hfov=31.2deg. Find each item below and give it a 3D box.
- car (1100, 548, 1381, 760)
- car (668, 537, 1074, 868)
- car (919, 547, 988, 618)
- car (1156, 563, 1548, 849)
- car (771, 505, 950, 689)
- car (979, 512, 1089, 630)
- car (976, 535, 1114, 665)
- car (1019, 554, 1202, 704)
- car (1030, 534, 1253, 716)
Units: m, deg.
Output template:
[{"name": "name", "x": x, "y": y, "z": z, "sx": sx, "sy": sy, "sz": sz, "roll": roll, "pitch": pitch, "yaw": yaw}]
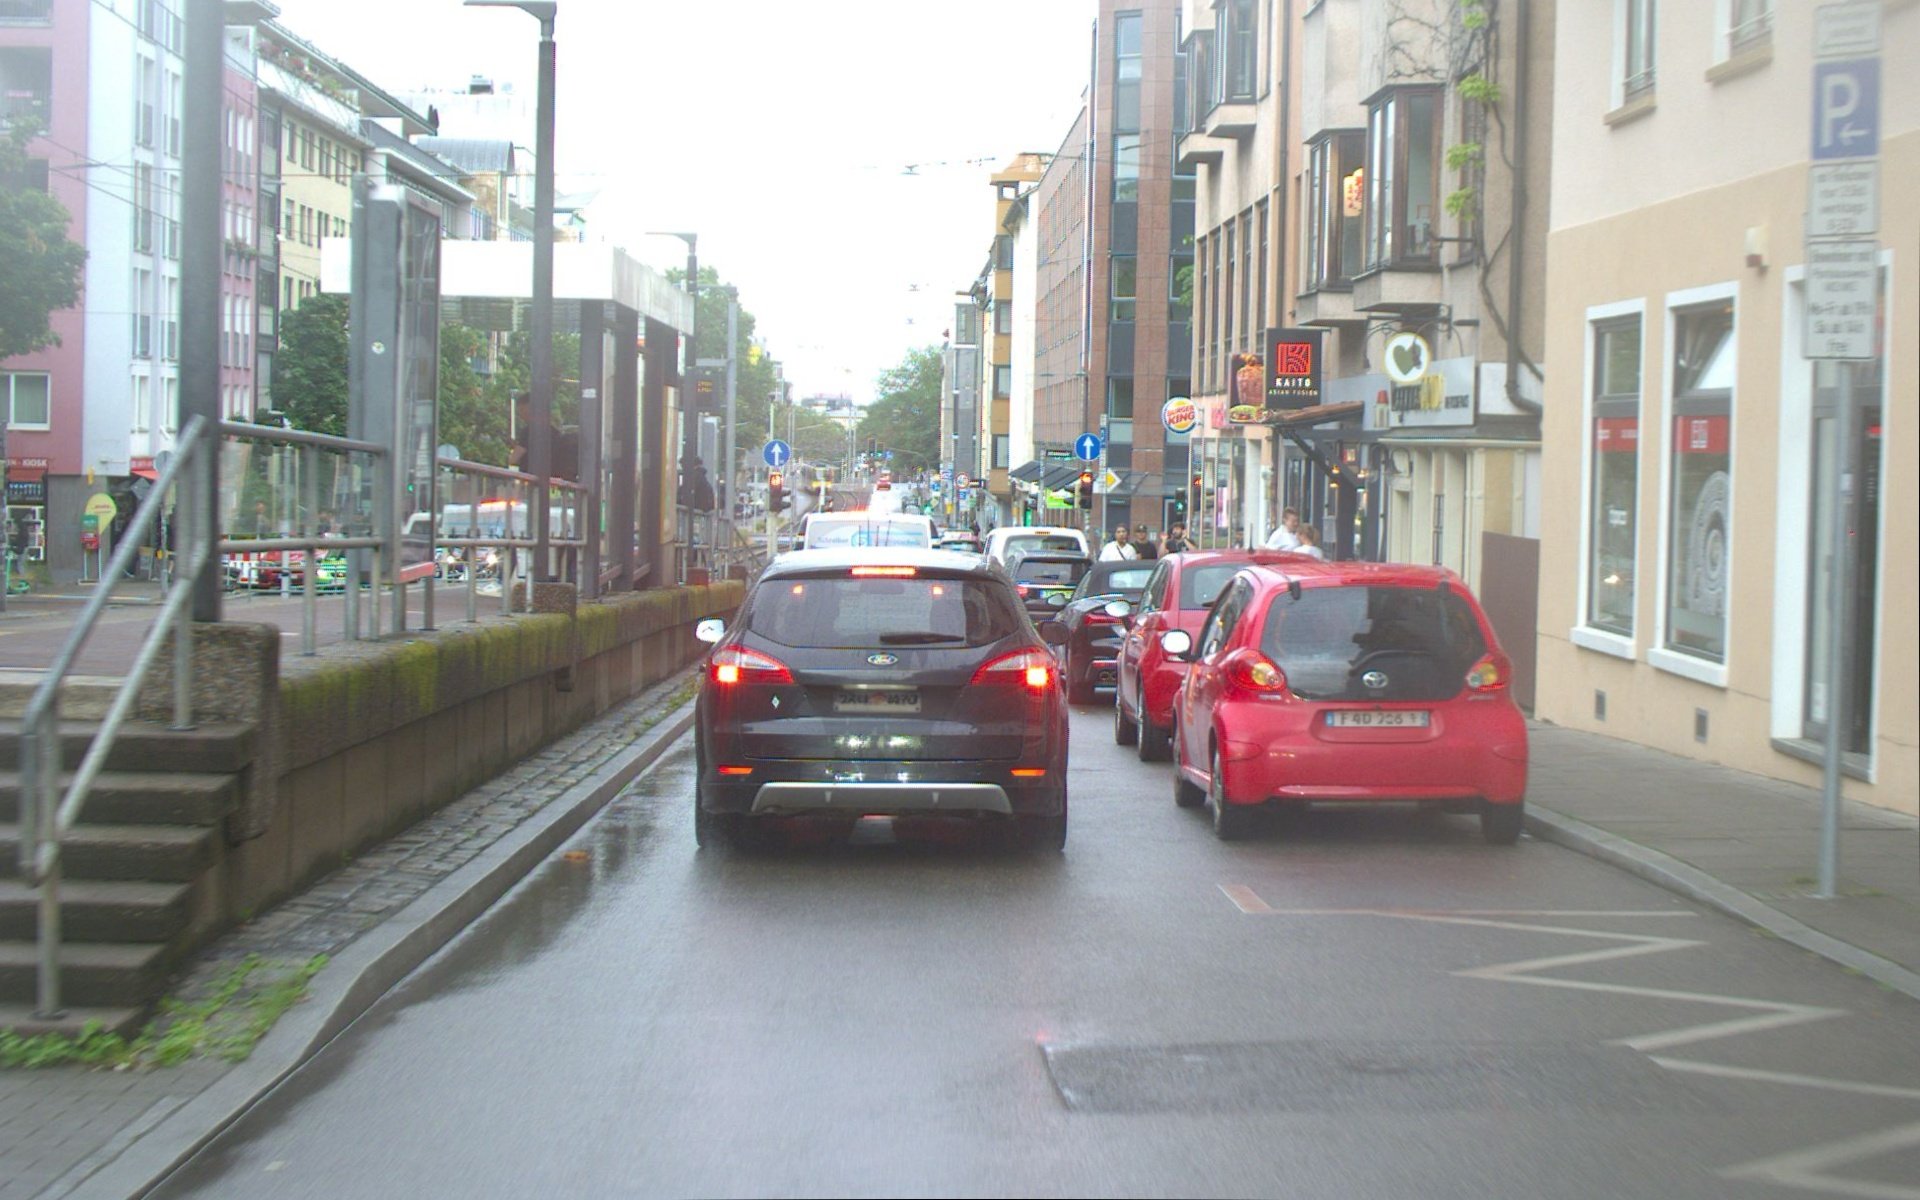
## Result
[{"name": "car", "x": 1.973, "y": 0.347, "z": 25.058, "sx": 1.670, "sy": 1.416, "sz": 3.476, "roll": 1, "pitch": 1, "yaw": -1}, {"name": "car", "x": -0.511, "y": 0.453, "z": 17.691, "sx": 1.842, "sy": 1.502, "sz": 4.000, "roll": 0, "pitch": 0, "yaw": -3}, {"name": "car", "x": -0.228, "y": -0.534, "z": 106.627, "sx": 1.993, "sy": 2.007, "sz": 4.000, "roll": 3, "pitch": -1, "yaw": -1}, {"name": "car", "x": 2.066, "y": 0.515, "z": 18.977, "sx": 1.670, "sy": 1.416, "sz": 3.476, "roll": 1, "pitch": 1, "yaw": -1}, {"name": "car", "x": -1.241, "y": -0.089, "z": 41.280, "sx": 1.988, "sy": 2.053, "sz": 4.646, "roll": 1, "pitch": 1, "yaw": -3}, {"name": "car", "x": 1.182, "y": -0.442, "z": 56.396, "sx": 1.591, "sy": 1.775, "sz": 3.779, "roll": 3, "pitch": -1, "yaw": -1}, {"name": "car", "x": 1.239, "y": 0.029, "z": 51.594, "sx": 1.839, "sy": 1.775, "sz": 3.779, "roll": 3, "pitch": -1, "yaw": -1}, {"name": "car", "x": 1.720, "y": 0.348, "z": 40.437, "sx": 1.858, "sy": 1.579, "sz": 3.779, "roll": 3, "pitch": -1, "yaw": -1}, {"name": "car", "x": 1.719, "y": 0.255, "z": 33.719, "sx": 1.858, "sy": 1.579, "sz": 3.779, "roll": 3, "pitch": -1, "yaw": -1}]
